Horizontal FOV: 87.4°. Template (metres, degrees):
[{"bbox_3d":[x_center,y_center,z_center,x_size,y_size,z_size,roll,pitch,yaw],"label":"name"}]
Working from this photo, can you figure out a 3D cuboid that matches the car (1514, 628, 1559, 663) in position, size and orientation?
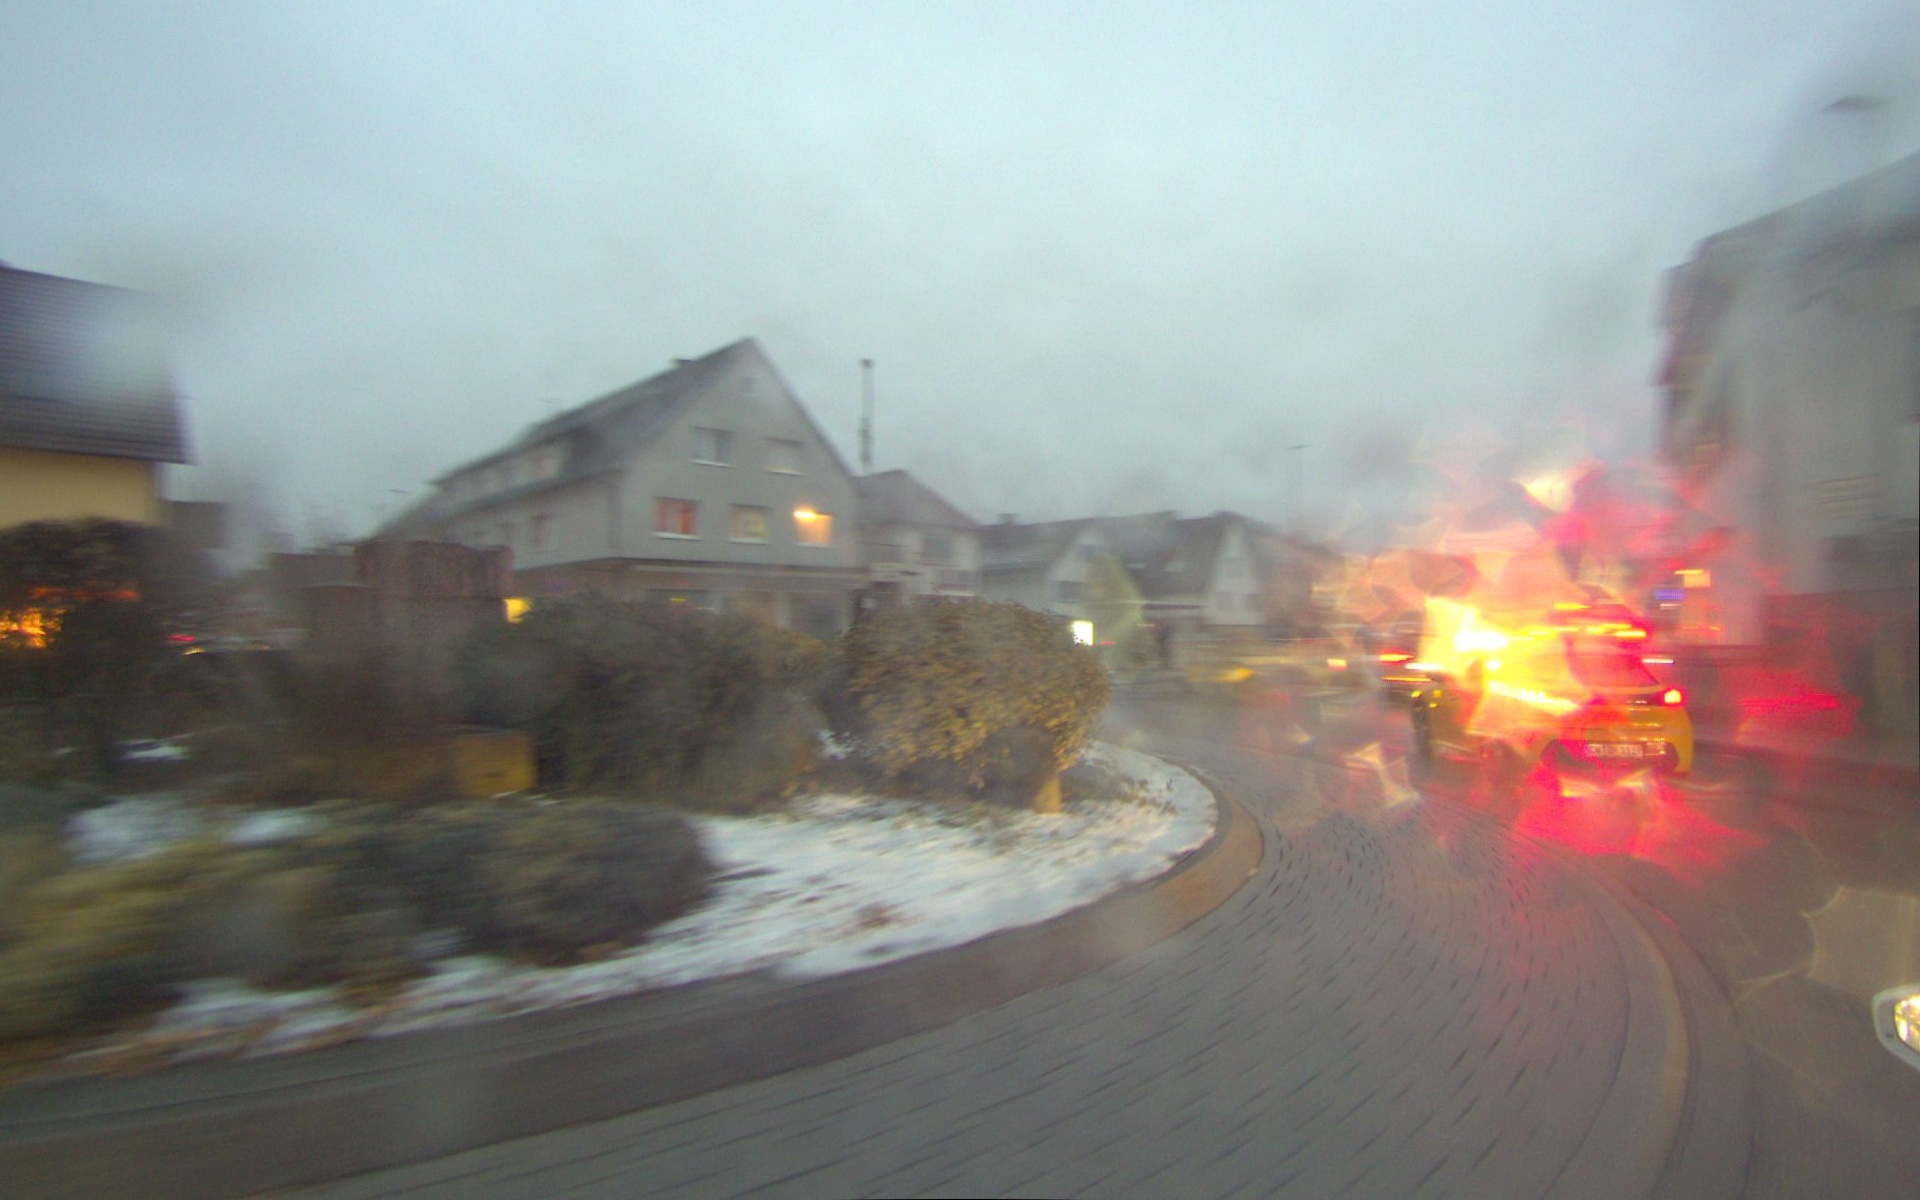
[{"bbox_3d":[28.977,2.246,50.459,1.698,1.653,3.988,-1,-1,34],"label":"car"}]

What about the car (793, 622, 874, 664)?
[{"bbox_3d":[-5.877,1.957,46.277,1.795,1.821,3.952,0,-1,-41],"label":"car"}]

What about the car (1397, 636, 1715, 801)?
[{"bbox_3d":[6.279,1.139,11.151,1.680,1.440,4.016,0,-2,9],"label":"car"}]

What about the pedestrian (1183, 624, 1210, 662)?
[{"bbox_3d":[8.769,1.580,37.210,0.773,1.366,0.714,-1,-1,36],"label":"pedestrian"}]

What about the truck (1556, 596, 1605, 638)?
[{"bbox_3d":[46.489,1.257,75.195,2.680,3.050,5.971,-1,-1,36],"label":"truck"}]

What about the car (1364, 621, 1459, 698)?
[{"bbox_3d":[10.754,1.340,23.973,1.885,1.636,3.947,-1,-1,24],"label":"car"}]

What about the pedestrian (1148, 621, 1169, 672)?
[{"bbox_3d":[7.229,1.695,36.526,0.716,1.842,0.531,-1,-1,13],"label":"pedestrian"}]

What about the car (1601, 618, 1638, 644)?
[{"bbox_3d":[39.687,1.831,60.406,1.669,1.486,3.705,-1,-1,36],"label":"car"}]

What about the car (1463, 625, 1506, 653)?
[{"bbox_3d":[30.560,2.244,58.463,1.718,1.589,4.048,-1,-1,35],"label":"car"}]

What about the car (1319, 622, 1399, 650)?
[{"bbox_3d":[24.335,2.179,61.315,4.247,1.661,1.842,-1,-1,32],"label":"car"}]
